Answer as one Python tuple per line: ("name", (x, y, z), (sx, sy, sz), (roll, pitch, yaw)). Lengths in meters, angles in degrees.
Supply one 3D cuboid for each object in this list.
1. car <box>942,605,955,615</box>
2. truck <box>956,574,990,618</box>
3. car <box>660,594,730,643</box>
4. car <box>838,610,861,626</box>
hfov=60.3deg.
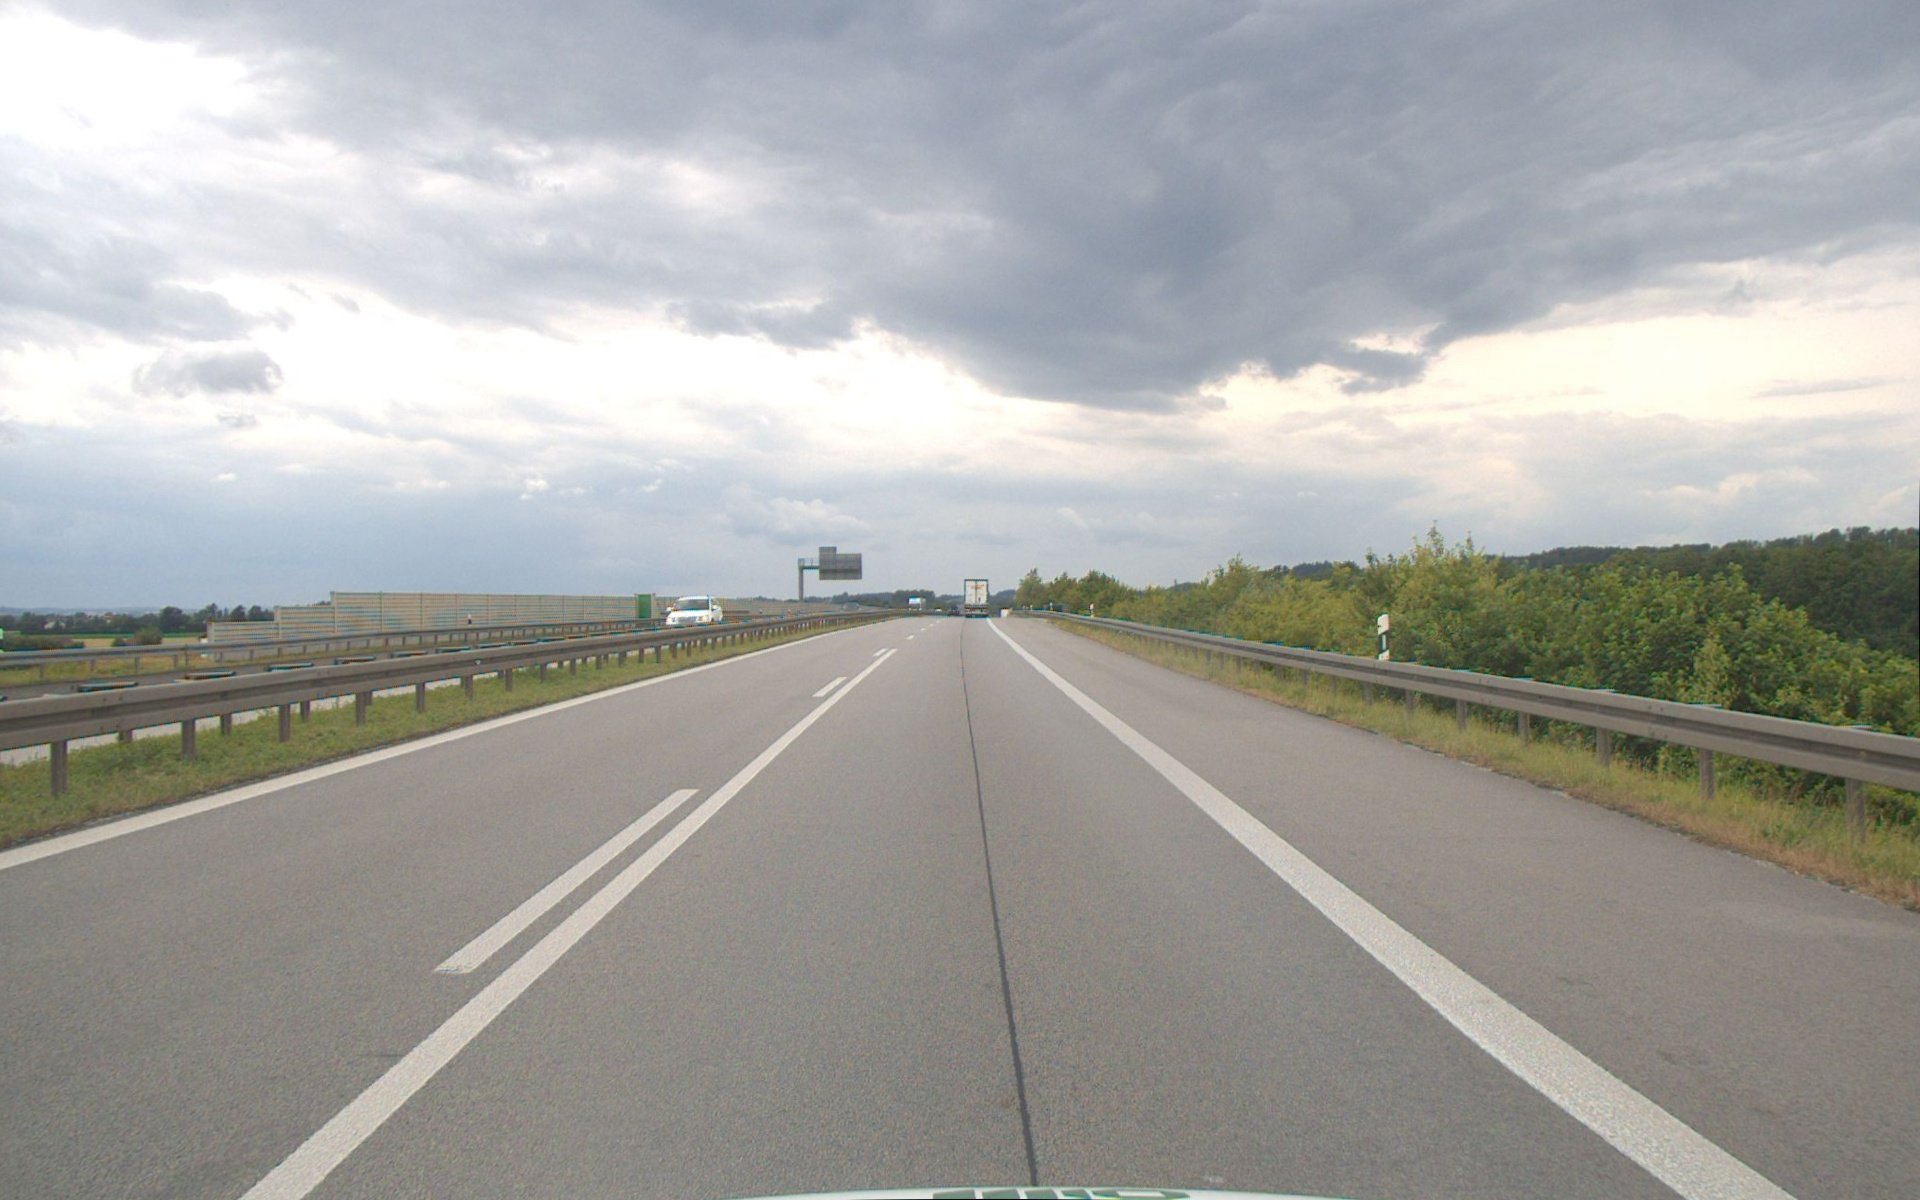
("car", (-1.757, 1.503, 248.983), (1.953, 1.445, 3.999), (1, 0, -2))
("truck", (1.554, -0.369, 184.820), (3.596, 4.490, 16.341), (-1, -1, 1))
("car", (-10.793, 0.719, 67.628), (2.028, 1.776, 4.960), (-3, 1, -1))
("car", (-10.342, 1.662, 155.133), (1.751, 1.476, 5.173), (0, 0, 0))
